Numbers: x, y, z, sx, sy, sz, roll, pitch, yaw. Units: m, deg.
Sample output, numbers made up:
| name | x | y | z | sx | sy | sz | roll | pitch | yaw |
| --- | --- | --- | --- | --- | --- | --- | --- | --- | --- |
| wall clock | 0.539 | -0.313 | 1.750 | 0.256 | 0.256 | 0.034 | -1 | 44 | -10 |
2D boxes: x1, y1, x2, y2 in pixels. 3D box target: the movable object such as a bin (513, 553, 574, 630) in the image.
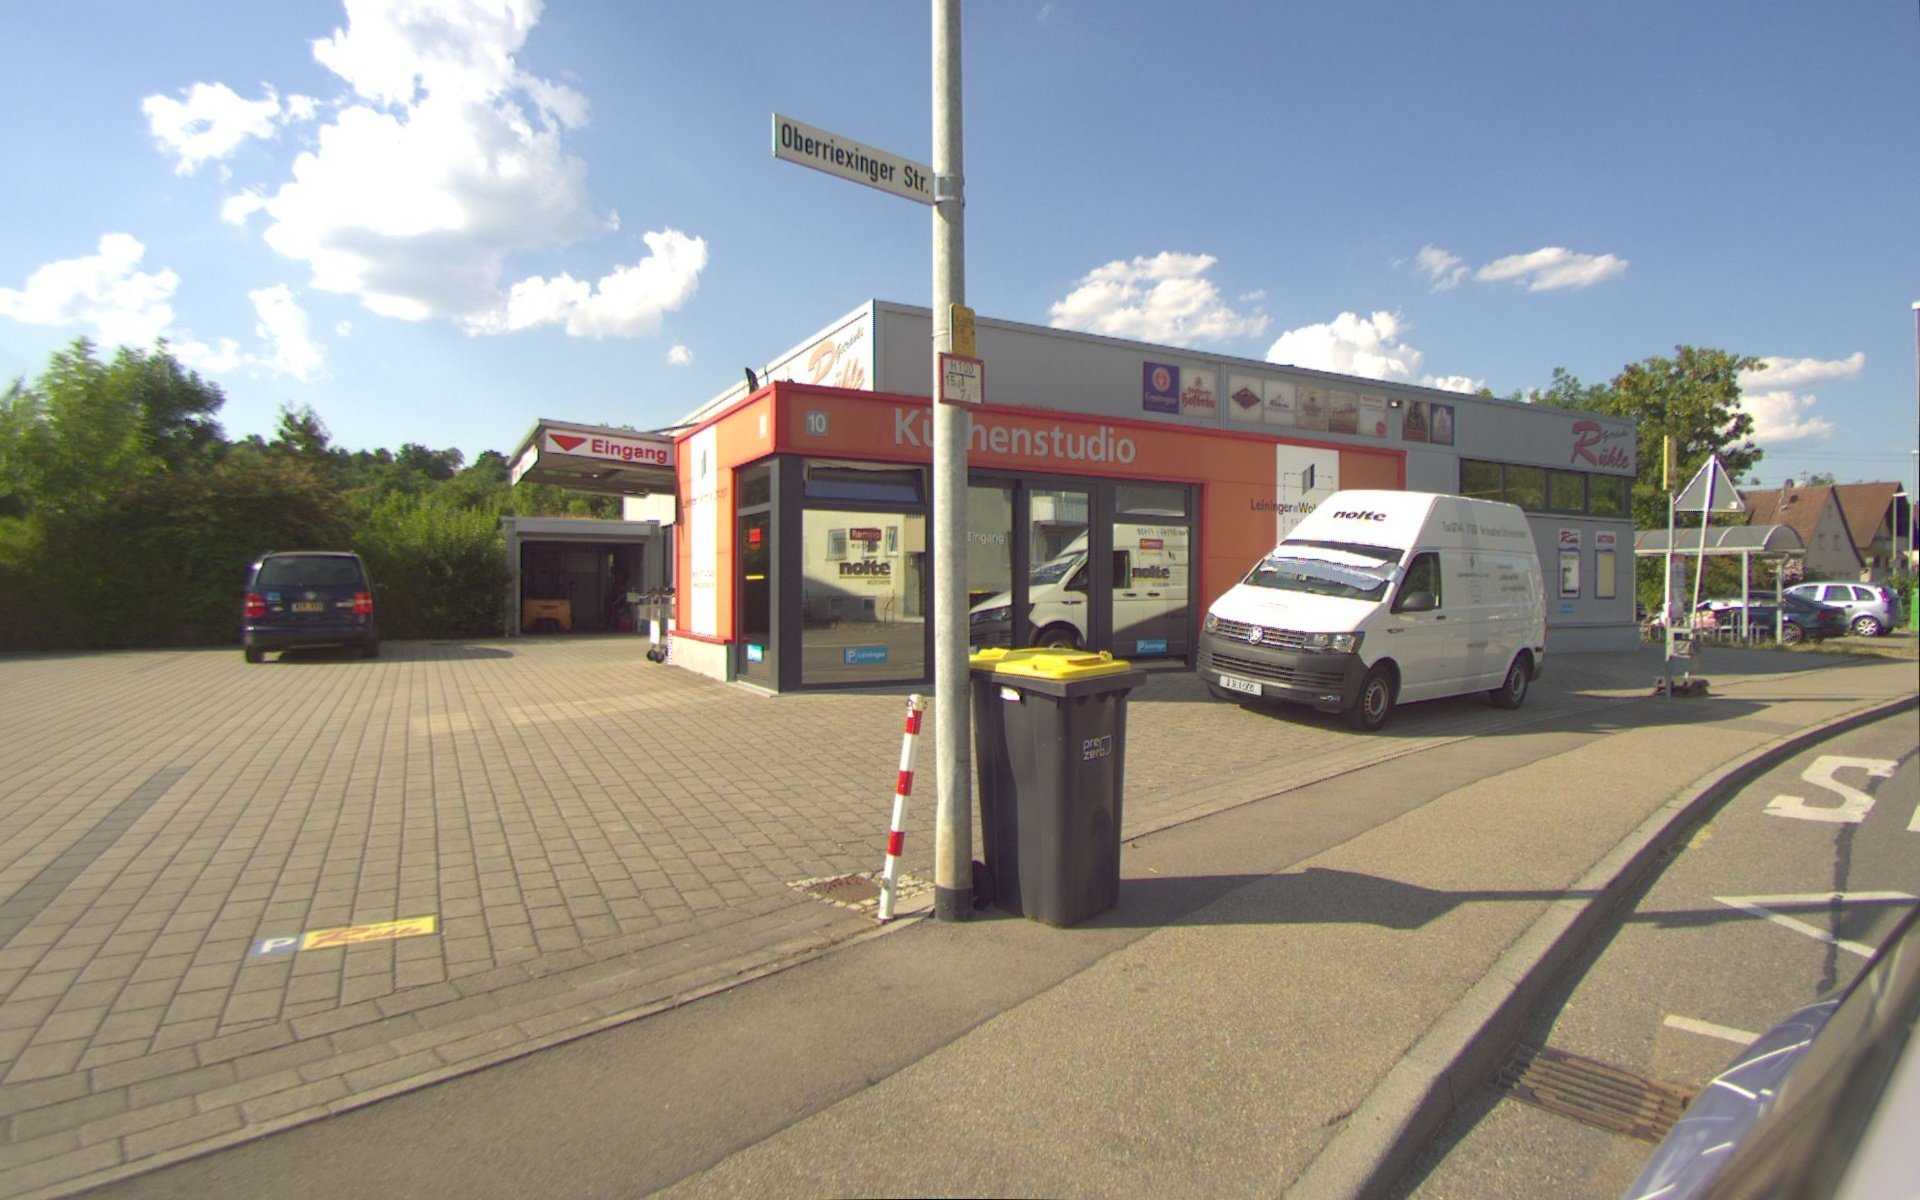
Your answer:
| name | x | y | z | sx | sy | sz | roll | pitch | yaw |
| --- | --- | --- | --- | --- | --- | --- | --- | --- | --- |
| movable object such as a bin | -9.713 | -0.209 | 23.522 | 1.153 | 1.669 | 3.028 | 0 | 1 | -25 |

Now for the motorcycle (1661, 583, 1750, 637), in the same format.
| name | x | y | z | sx | sy | sz | roll | pitch | yaw |
| --- | --- | --- | --- | --- | --- | --- | --- | --- | --- |
| motorcycle | 19.620 | 0.244 | 26.667 | 1.821 | 1.340 | 0.632 | 2 | 2 | 37 |

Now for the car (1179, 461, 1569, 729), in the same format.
| name | x | y | z | sx | sy | sz | roll | pitch | yaw |
| --- | --- | --- | --- | --- | --- | --- | --- | --- | --- |
| car | 4.834 | -0.130 | 11.405 | 5.087 | 2.403 | 1.841 | -1 | 4 | -40 |

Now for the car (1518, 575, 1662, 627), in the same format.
| name | x | y | z | sx | sy | sz | roll | pitch | yaw |
| --- | --- | --- | --- | --- | --- | --- | --- | --- | --- |
| car | 19.380 | -0.022 | 31.257 | 1.469 | 1.434 | 3.452 | -1 | 3 | -31 |

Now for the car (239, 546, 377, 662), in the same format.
| name | x | y | z | sx | sy | sz | roll | pitch | yaw |
| --- | --- | --- | --- | --- | --- | --- | --- | --- | --- |
| car | -10.261 | 0.003 | 16.147 | 1.608 | 1.615 | 3.648 | -2 | 2 | -30 |

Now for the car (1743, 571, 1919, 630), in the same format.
| name | x | y | z | sx | sy | sz | roll | pitch | yaw |
| --- | --- | --- | --- | --- | --- | --- | --- | --- | --- |
| car | 26.428 | -0.038 | 30.684 | 1.651 | 1.623 | 3.952 | -2 | 2 | -35 |

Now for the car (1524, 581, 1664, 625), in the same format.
| name | x | y | z | sx | sy | sz | roll | pitch | yaw |
| --- | --- | --- | --- | --- | --- | --- | --- | --- | --- |
| car | 22.690 | 0.068 | 36.352 | 1.651 | 1.466 | 3.952 | -2 | 2 | -35 |

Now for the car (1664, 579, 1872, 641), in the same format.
| name | x | y | z | sx | sy | sz | roll | pitch | yaw |
| --- | --- | --- | --- | --- | --- | --- | --- | --- | --- |
| car | 21.682 | 0.208 | 27.318 | 1.594 | 1.434 | 4.080 | -1 | 3 | -33 |

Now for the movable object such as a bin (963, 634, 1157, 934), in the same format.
| name | x | y | z | sx | sy | sz | roll | pitch | yaw |
| --- | --- | --- | --- | --- | --- | --- | --- | --- | --- |
| movable object such as a bin | 0.413 | 0.711 | 4.231 | 0.563 | 1.088 | 0.568 | 0 | 1 | -41 |
